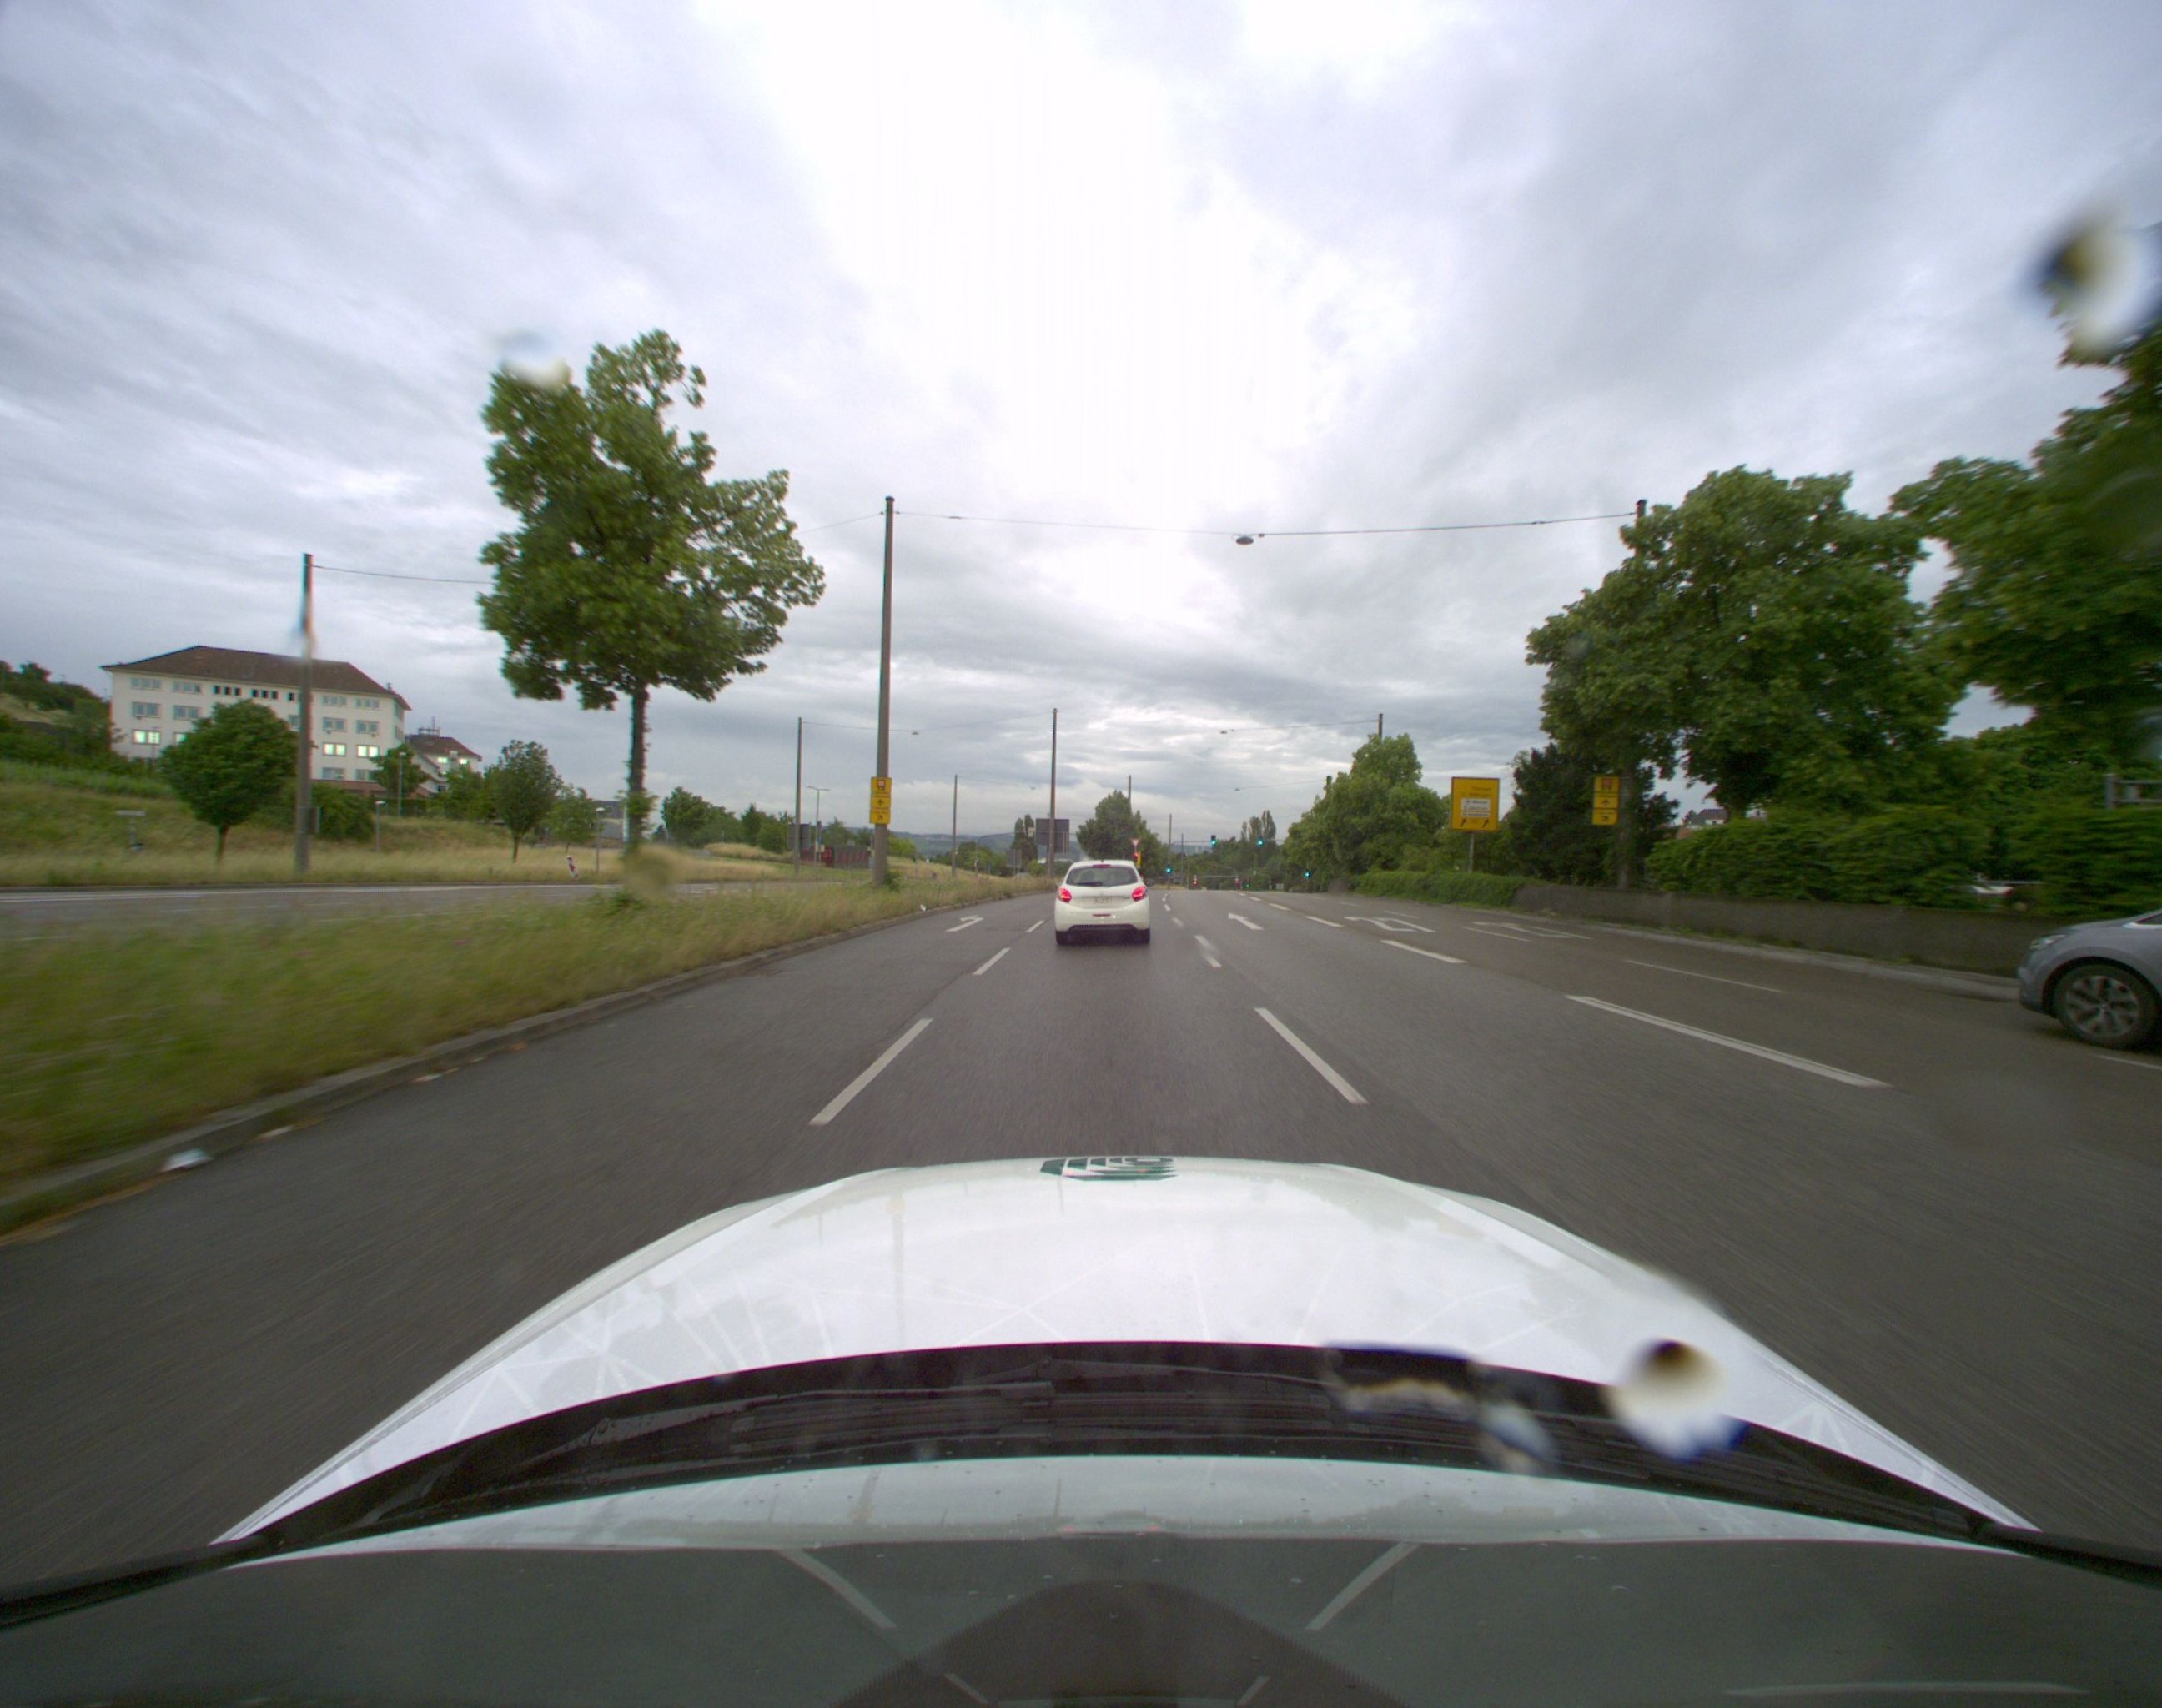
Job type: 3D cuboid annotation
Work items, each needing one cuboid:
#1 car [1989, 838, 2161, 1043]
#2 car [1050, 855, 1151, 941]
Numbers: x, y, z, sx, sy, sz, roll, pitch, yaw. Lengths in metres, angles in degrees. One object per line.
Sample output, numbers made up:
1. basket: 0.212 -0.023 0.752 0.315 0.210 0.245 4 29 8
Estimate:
1. car: 9.549 0.734 5.524 1.718 1.649 4.628 3 0 3
2. car: 0.467 0.744 15.601 1.701 1.440 3.695 -1 0 4
